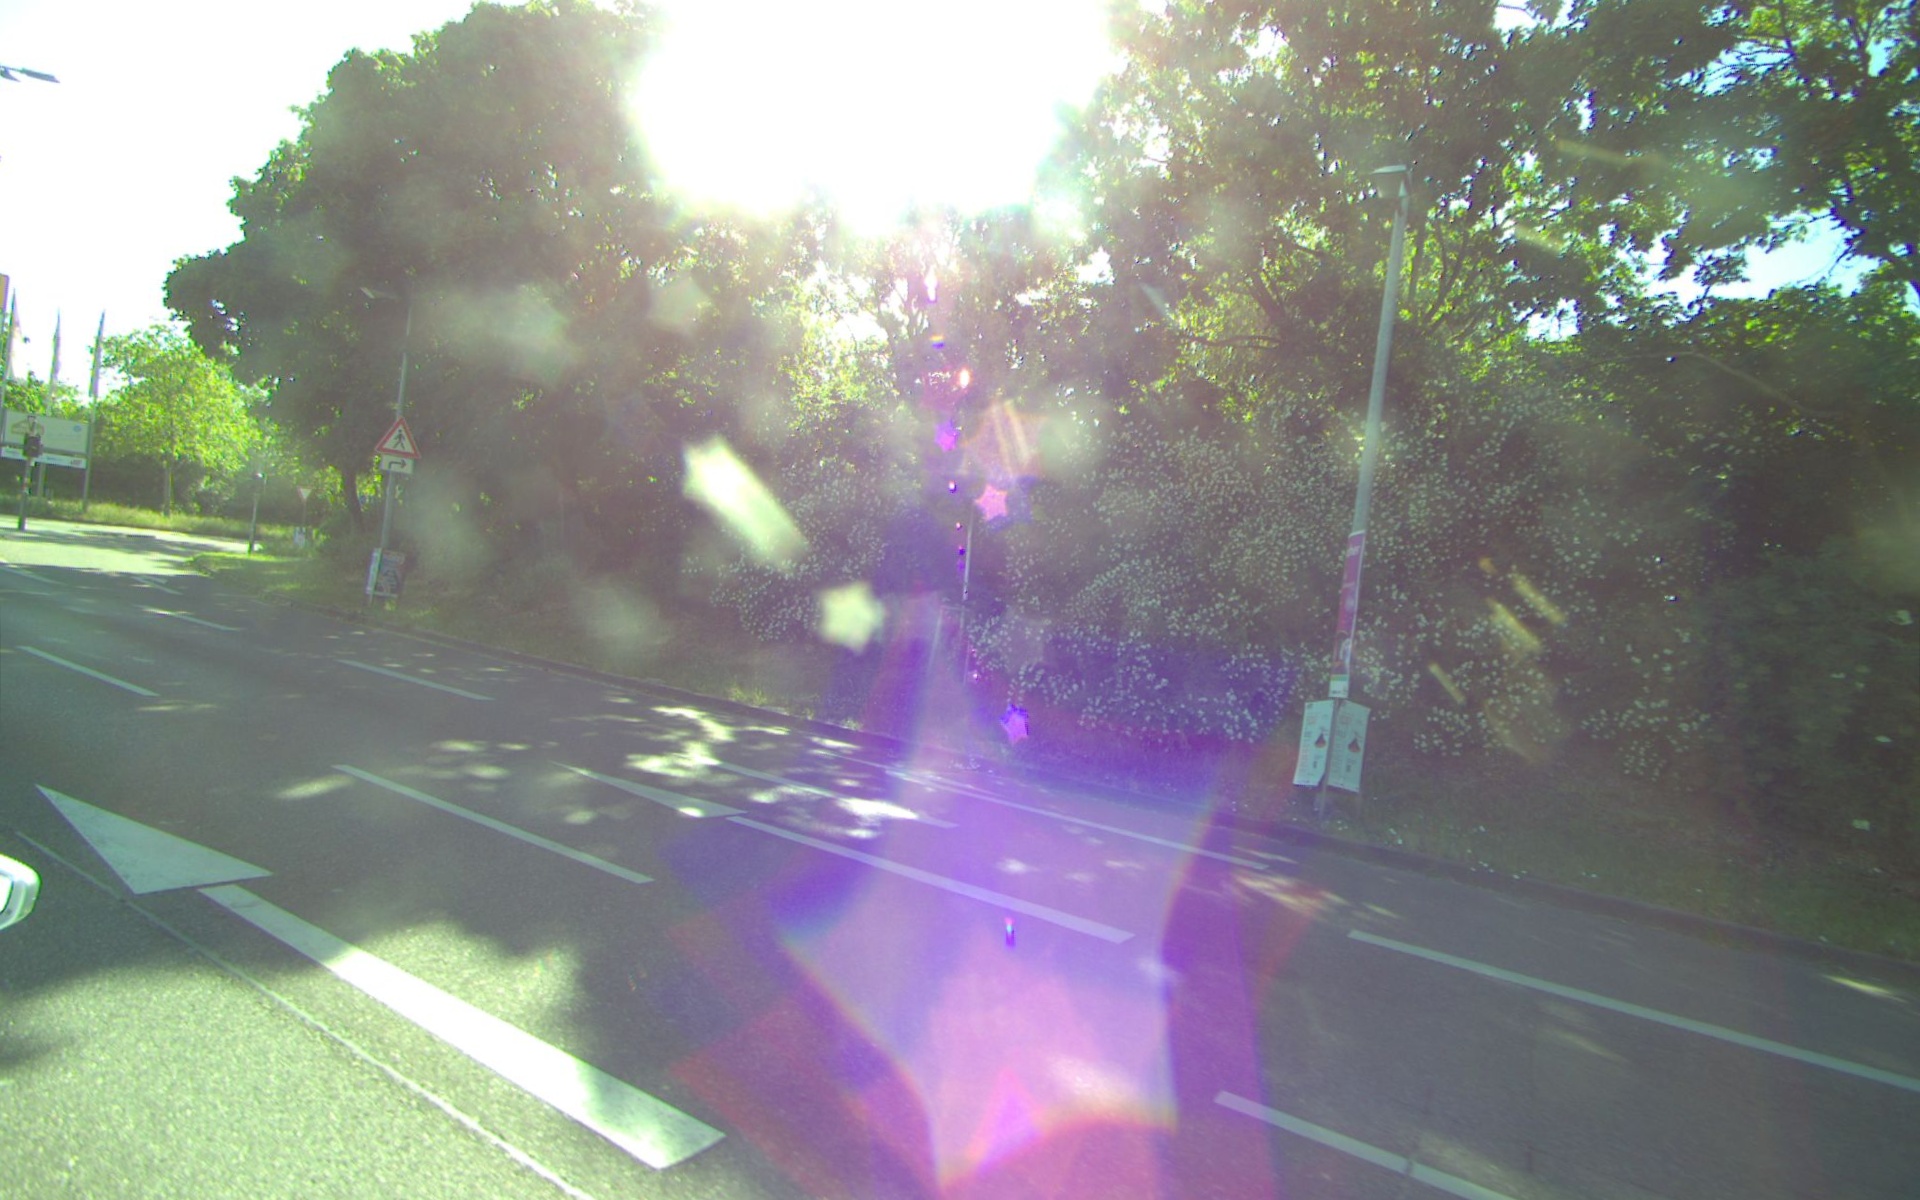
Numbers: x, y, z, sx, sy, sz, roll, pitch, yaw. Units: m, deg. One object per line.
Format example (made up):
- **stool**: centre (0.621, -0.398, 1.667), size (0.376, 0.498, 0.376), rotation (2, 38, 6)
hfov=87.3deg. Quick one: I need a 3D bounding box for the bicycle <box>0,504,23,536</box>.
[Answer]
- **bicycle**: centre (-29.825, -2.551, 30.356), size (0.549, 0.889, 2.170), rotation (7, -2, 20)
